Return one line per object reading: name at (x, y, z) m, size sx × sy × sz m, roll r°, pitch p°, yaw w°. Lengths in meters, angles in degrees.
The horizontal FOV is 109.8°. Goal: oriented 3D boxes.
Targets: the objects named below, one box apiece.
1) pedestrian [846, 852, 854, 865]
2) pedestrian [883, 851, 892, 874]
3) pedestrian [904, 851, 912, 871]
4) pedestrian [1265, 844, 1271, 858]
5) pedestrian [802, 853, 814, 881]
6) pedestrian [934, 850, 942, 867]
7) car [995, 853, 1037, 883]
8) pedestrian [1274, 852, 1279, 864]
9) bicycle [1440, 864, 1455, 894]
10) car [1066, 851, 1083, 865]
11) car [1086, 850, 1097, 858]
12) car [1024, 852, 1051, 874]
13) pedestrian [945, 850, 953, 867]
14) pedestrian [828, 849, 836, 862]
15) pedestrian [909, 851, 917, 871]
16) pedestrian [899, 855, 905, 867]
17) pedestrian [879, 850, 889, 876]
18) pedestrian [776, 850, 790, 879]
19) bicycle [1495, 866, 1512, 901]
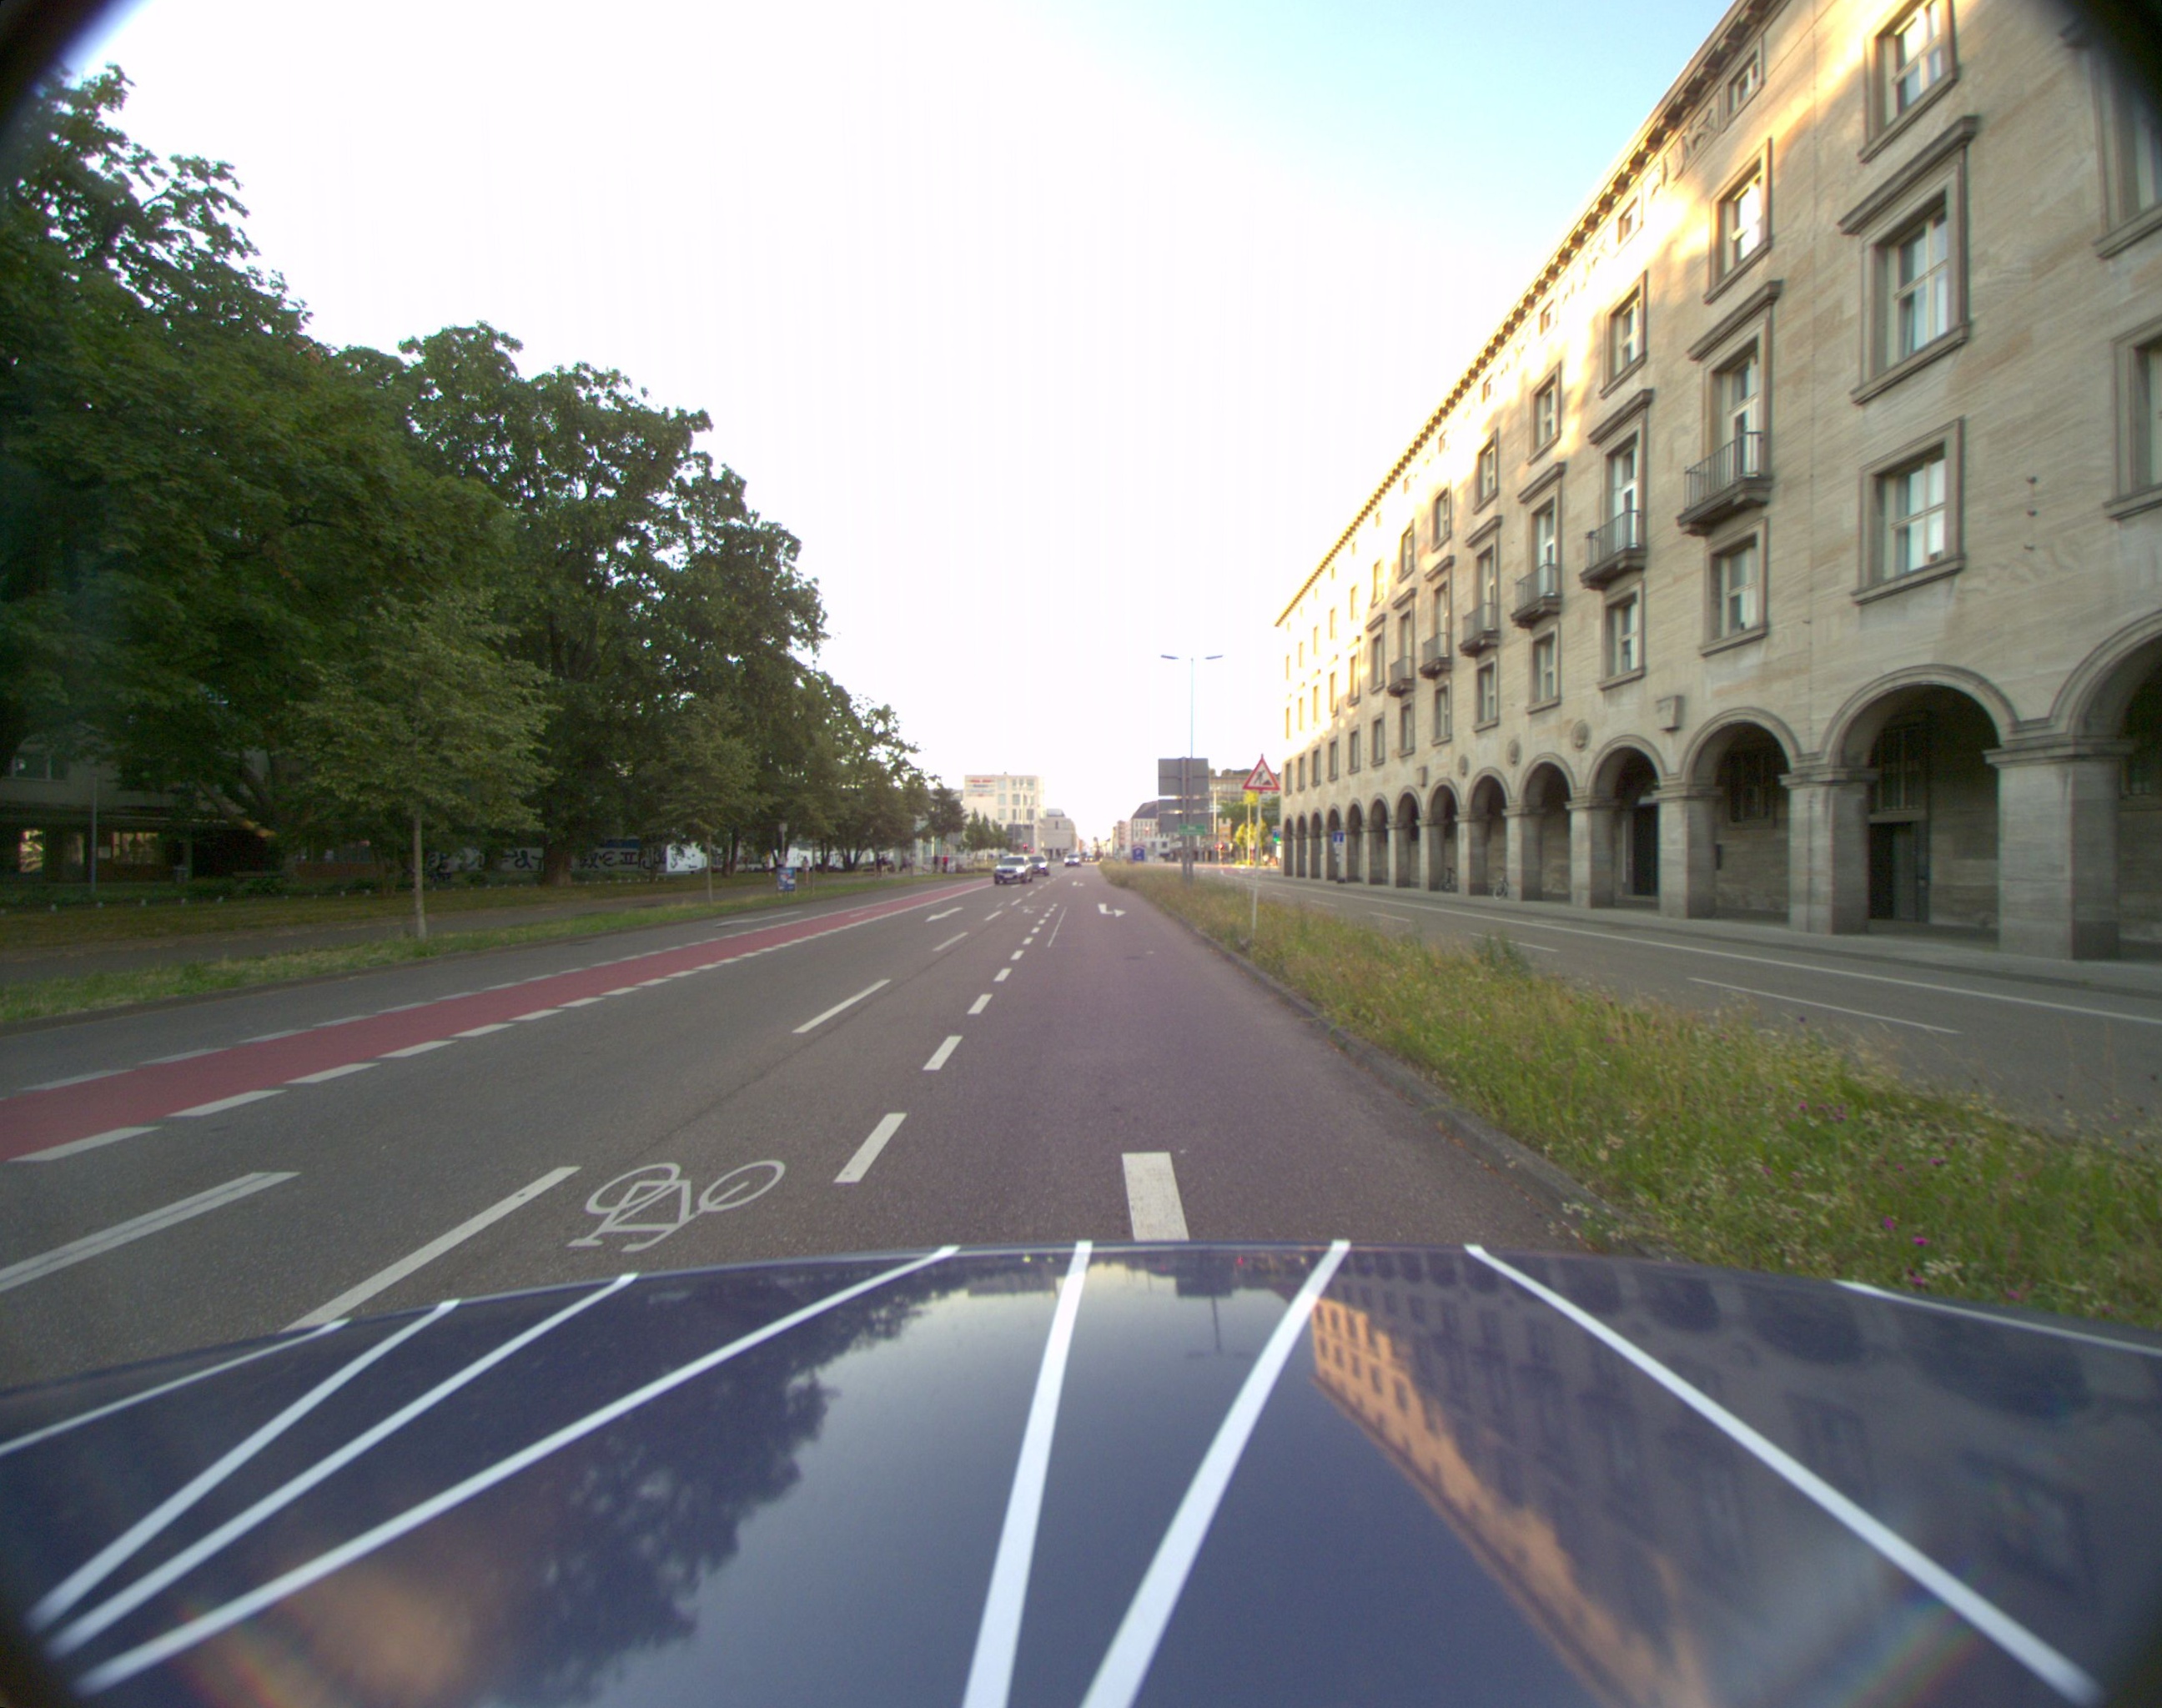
pedestrian at (-24.306, 0.427, 79.794) m, size 0.662 × 1.347 × 0.559 m, roll 0°, pitch 1°, yaw 1°
pedestrian at (-14.920, 0.646, 58.572) m, size 0.509 × 1.720 × 0.719 m, roll 0°, pitch 1°, yaw 1°
pedestrian at (-14.889, 0.580, 65.348) m, size 0.519 × 1.720 × 0.719 m, roll 0°, pitch 1°, yaw 1°
pedestrian at (24.163, -0.380, 98.206) m, size 0.638 × 1.747 × 0.506 m, roll 0°, pitch 1°, yaw 1°
pedestrian at (-15.130, 0.718, 42.132) m, size 0.500 × 1.592 × 0.365 m, roll 0°, pitch 1°, yaw 1°
pedestrian at (-14.615, 0.477, 77.678) m, size 0.638 × 1.747 × 0.506 m, roll 0°, pitch 1°, yaw 1°
car at (-3.781, 0.788, 45.061) m, size 1.826 × 1.612 × 4.337 m, roll -2°, pitch 0°, yaw 3°
pedestrian at (25.218, 0.488, 98.090) m, size 0.526 × 1.532 × 0.390 m, roll 0°, pitch 1°, yaw 1°
bicycle at (15.496, 1.025, 32.147) m, size 0.513 × 1.172 × 2.427 m, roll 0°, pitch 0°, yaw 25°
car at (-0.817, 0.503, 96.275) m, size 1.781 × 1.676 × 4.217 m, roll 0°, pitch 0°, yaw 5°
car at (3.182, -0.134, 222.021) m, size 1.996 × 2.297 × 5.095 m, roll 0°, pitch 0°, yaw 15°
car at (-3.362, 0.688, 59.455) m, size 1.782 × 1.617 × 4.215 m, roll -1°, pitch 0°, yaw 1°
pedestrian at (-13.489, 0.447, 77.655) m, size 0.638 × 1.747 × 0.506 m, roll 0°, pitch 1°, yaw 1°
pedestrian at (-25.823, 0.202, 78.760) m, size 0.631 × 1.347 × 0.681 m, roll 0°, pitch 1°, yaw 1°
pedestrian at (-14.327, 0.588, 64.963) m, size 0.509 × 1.720 × 0.719 m, roll 0°, pitch 1°, yaw 1°
pedestrian at (-19.764, 0.810, 83.755) m, size 0.509 × 1.347 × 0.435 m, roll 0°, pitch 1°, yaw 1°
pedestrian at (-13.230, 0.621, 51.085) m, size 0.558 × 1.729 × 0.555 m, roll 0°, pitch 1°, yaw 1°
pedestrian at (-16.322, 0.574, 41.621) m, size 0.500 × 1.592 × 0.522 m, roll 0°, pitch 1°, yaw 1°
bicycle at (15.300, 1.044, 27.498) m, size 0.513 × 1.115 × 2.427 m, roll 0°, pitch 1°, yaw 30°
